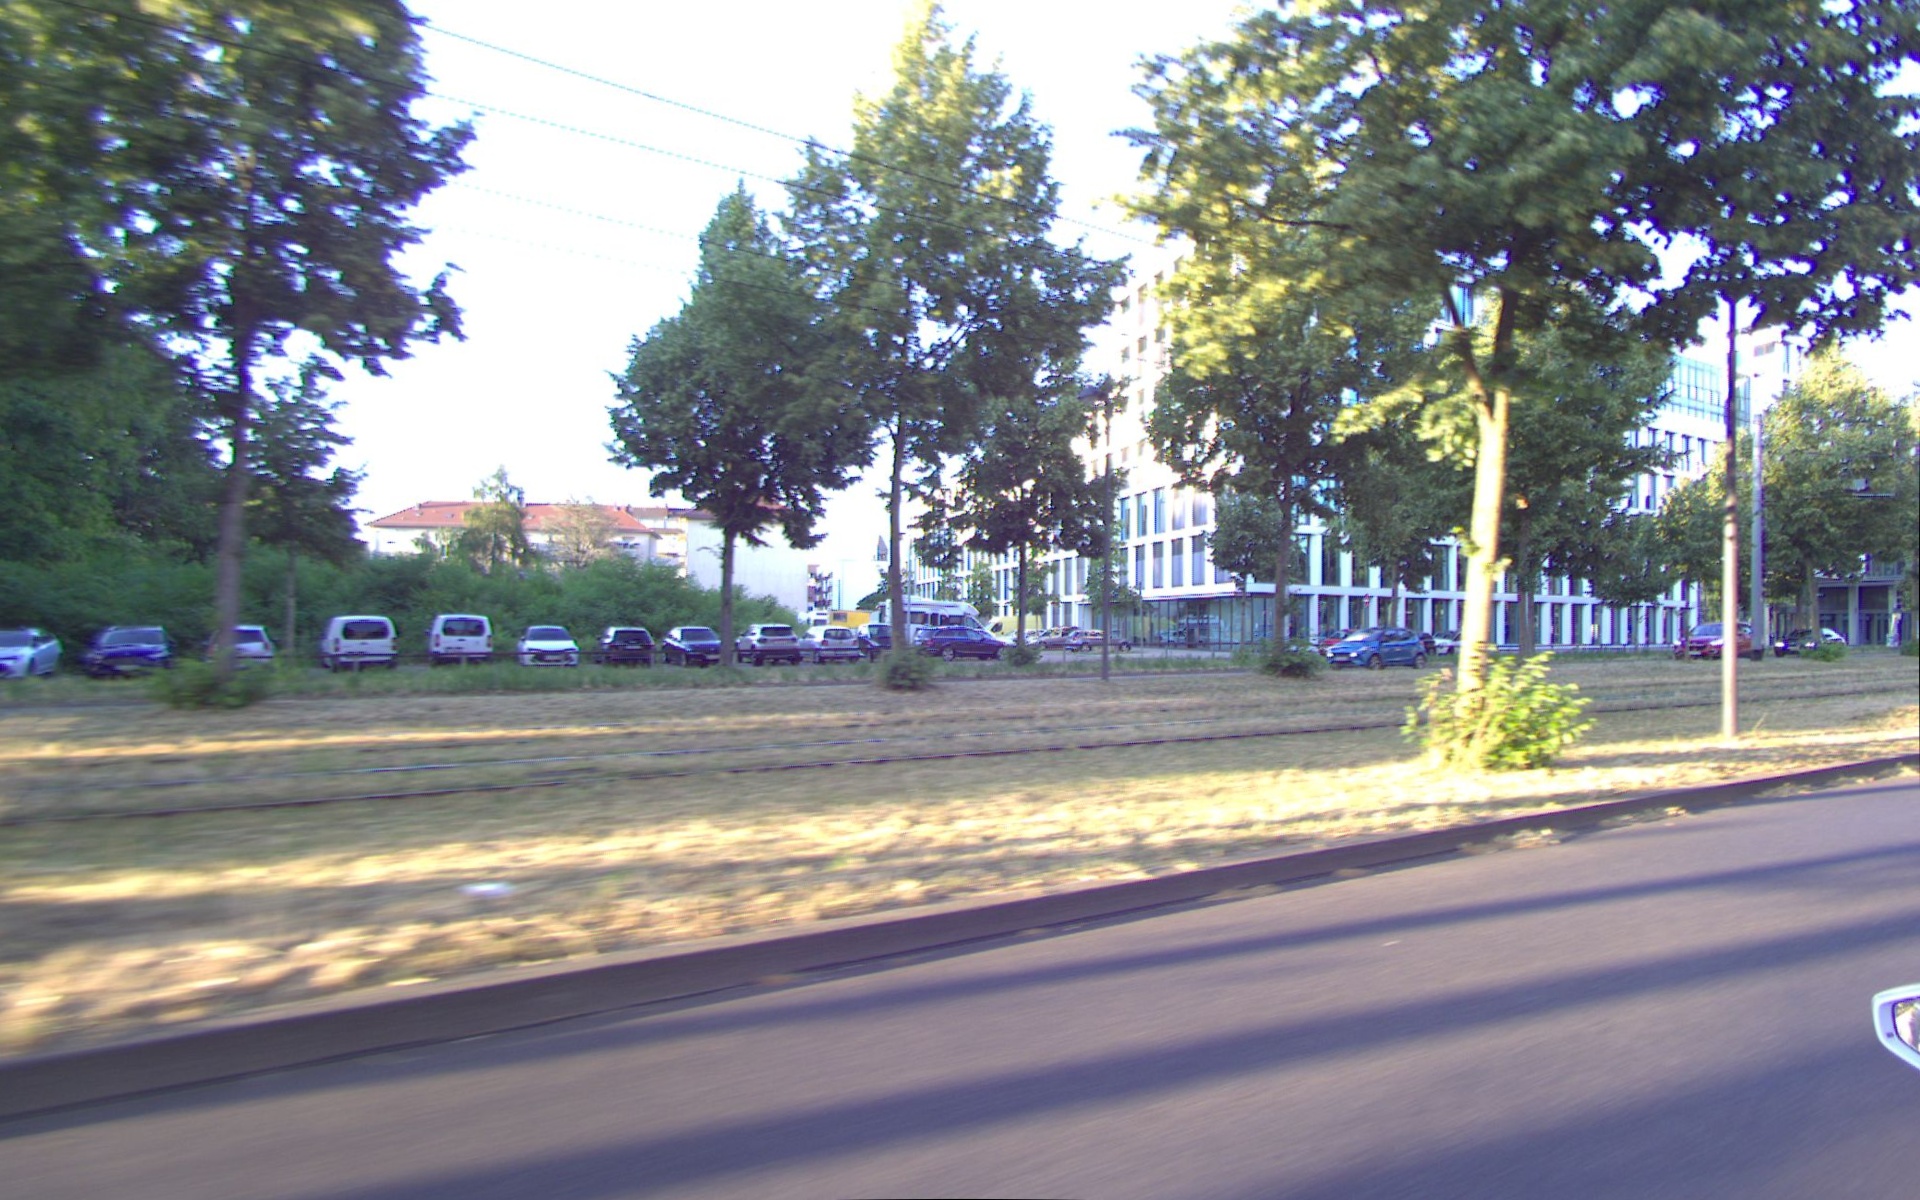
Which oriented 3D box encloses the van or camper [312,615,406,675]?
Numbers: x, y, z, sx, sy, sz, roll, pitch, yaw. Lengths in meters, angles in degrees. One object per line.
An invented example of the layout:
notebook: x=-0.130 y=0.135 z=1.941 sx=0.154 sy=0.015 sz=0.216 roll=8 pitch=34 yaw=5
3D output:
van or camper: x=-19.325 y=1.397 z=32.243 sx=1.984 sy=1.815 sz=3.954 roll=1 pitch=-2 yaw=-40

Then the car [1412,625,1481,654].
car: x=28.354 y=2.269 z=58.517 sx=3.739 sy=1.602 sz=1.851 roll=1 pitch=-1 yaw=-30

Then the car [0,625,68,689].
car: x=-26.549 y=1.527 z=27.783 sx=1.898 sy=1.661 sz=3.971 roll=1 pitch=-1 yaw=-28

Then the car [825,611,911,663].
car: x=-3.863 y=1.507 z=41.753 sx=1.979 sy=2.040 sz=3.964 roll=1 pitch=-2 yaw=-33

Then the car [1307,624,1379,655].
car: x=20.378 y=2.072 z=53.444 sx=3.450 sy=1.602 sz=1.851 roll=1 pitch=-1 yaw=-30

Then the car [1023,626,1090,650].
car: x=6.595 y=2.566 z=68.773 sx=4.212 sy=1.610 sz=1.761 roll=1 pitch=-1 yaw=-19

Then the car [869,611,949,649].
car: x=-2.804 y=1.648 z=55.211 sx=3.953 sy=2.040 sz=1.984 roll=1 pitch=-1 yaw=-30

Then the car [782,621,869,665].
car: x=-5.400 y=1.669 z=39.969 sx=1.902 sy=1.661 sz=3.964 roll=1 pitch=-1 yaw=-33

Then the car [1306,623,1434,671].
car: x=14.017 y=1.576 z=34.320 sx=4.238 sy=1.528 sz=1.908 roll=1 pitch=-1 yaw=-31

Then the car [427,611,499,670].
car: x=-16.963 y=1.343 z=34.221 sx=1.988 sy=1.869 sz=3.969 roll=1 pitch=-1 yaw=-29

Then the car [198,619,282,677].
car: x=-22.177 y=1.433 z=31.069 sx=1.902 sy=1.661 sz=3.964 roll=1 pitch=-1 yaw=-33

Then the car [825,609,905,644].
car: x=-7.490 y=2.098 z=78.810 sx=5.993 sy=2.631 sz=1.993 roll=1 pitch=-1 yaw=-17

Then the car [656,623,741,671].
car: x=-9.810 y=1.711 z=37.502 sx=1.902 sy=1.661 sz=3.964 roll=1 pitch=-1 yaw=-33

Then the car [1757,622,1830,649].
car: x=43.080 y=1.804 z=51.883 sx=4.425 sy=1.350 sz=1.648 roll=1 pitch=-2 yaw=-32

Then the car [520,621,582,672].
car: x=-14.339 y=1.569 z=35.188 sx=1.895 sy=1.661 sz=3.978 roll=1 pitch=-1 yaw=-23

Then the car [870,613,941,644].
car: x=-3.330 y=1.733 z=61.434 sx=3.949 sy=1.835 sz=1.909 roll=1 pitch=-1 yaw=-28

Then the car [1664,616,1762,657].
car: x=30.628 y=1.465 z=40.831 sx=4.136 sy=1.599 sz=1.875 roll=1 pitch=-2 yaw=-32

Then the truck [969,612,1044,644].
truck: x=3.640 y=2.185 z=78.080 sx=5.487 sy=2.413 sz=1.991 roll=1 pitch=-1 yaw=-20

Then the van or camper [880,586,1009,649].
van or camper: x=-0.777 y=0.916 z=52.187 sx=6.181 sy=3.126 sz=2.701 roll=1 pitch=-1 yaw=-27

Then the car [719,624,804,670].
car: x=-7.714 y=1.756 z=38.867 sx=1.902 sy=1.661 sz=3.964 roll=1 pitch=-1 yaw=-33

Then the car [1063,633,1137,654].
car: x=8.535 y=2.642 z=61.374 sx=4.184 sy=1.277 sz=1.738 roll=1 pitch=-1 yaw=-18

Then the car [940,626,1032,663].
car: x=1.243 y=2.073 z=47.449 sx=3.948 sy=1.661 sz=1.909 roll=1 pitch=-1 yaw=-27

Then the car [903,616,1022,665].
car: x=0.136 y=1.756 z=43.929 sx=4.876 sy=2.040 sz=1.983 roll=1 pitch=-2 yaw=-31

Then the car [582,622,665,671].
car: x=-12.191 y=1.633 z=36.286 sx=1.902 sy=1.661 sz=3.964 roll=1 pitch=-1 yaw=-33

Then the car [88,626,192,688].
car: x=-23.885 y=1.608 z=29.391 sx=1.902 sy=1.661 sz=3.964 roll=1 pitch=-1 yaw=-33
